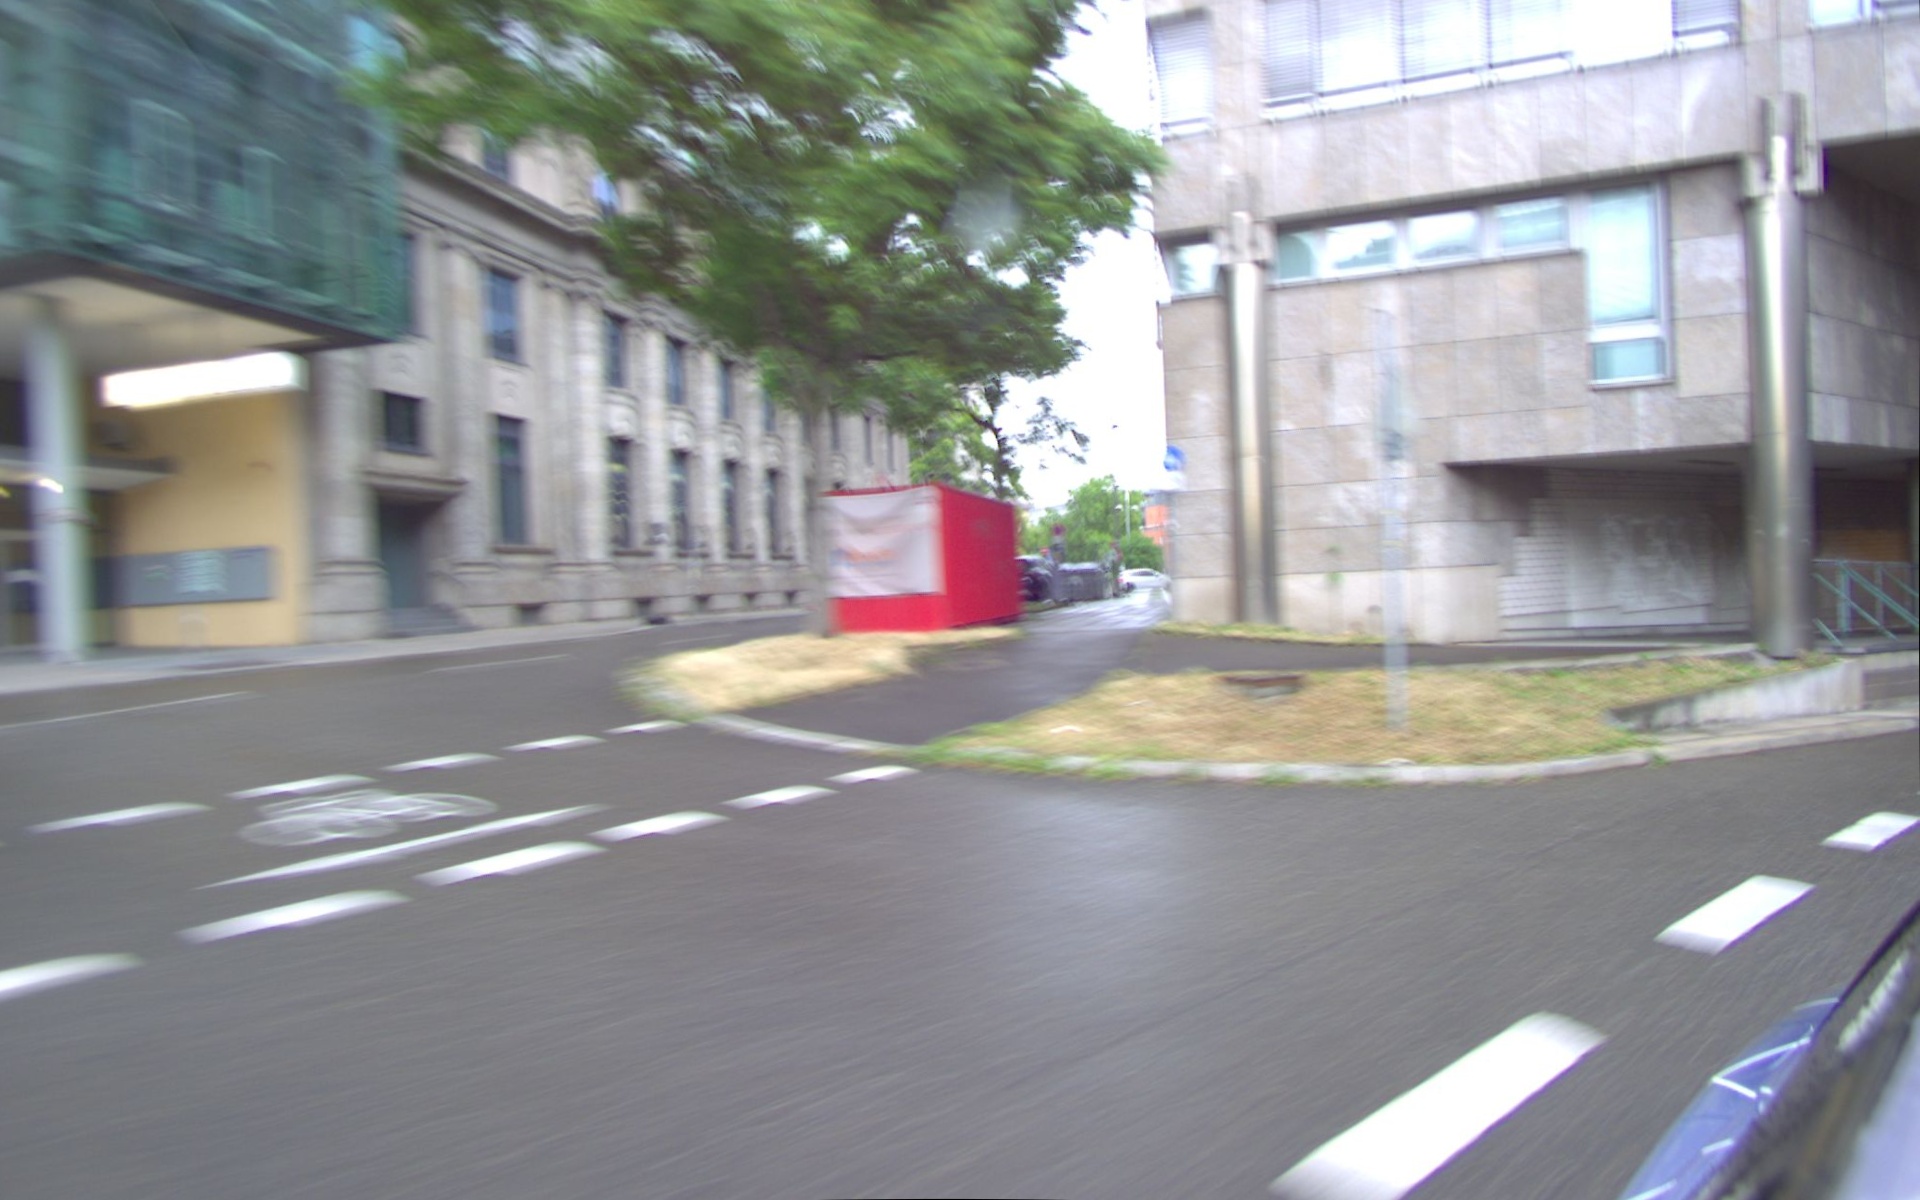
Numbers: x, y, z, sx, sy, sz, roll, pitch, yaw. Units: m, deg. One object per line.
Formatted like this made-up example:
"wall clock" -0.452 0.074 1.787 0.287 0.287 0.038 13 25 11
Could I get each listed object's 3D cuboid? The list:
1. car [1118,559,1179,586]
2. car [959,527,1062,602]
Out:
"car" 12.255 -1.782 65.950 3.702 1.671 1.798 0 1 3
"car" 1.662 -1.114 32.034 1.976 2.105 3.972 -3 1 22
